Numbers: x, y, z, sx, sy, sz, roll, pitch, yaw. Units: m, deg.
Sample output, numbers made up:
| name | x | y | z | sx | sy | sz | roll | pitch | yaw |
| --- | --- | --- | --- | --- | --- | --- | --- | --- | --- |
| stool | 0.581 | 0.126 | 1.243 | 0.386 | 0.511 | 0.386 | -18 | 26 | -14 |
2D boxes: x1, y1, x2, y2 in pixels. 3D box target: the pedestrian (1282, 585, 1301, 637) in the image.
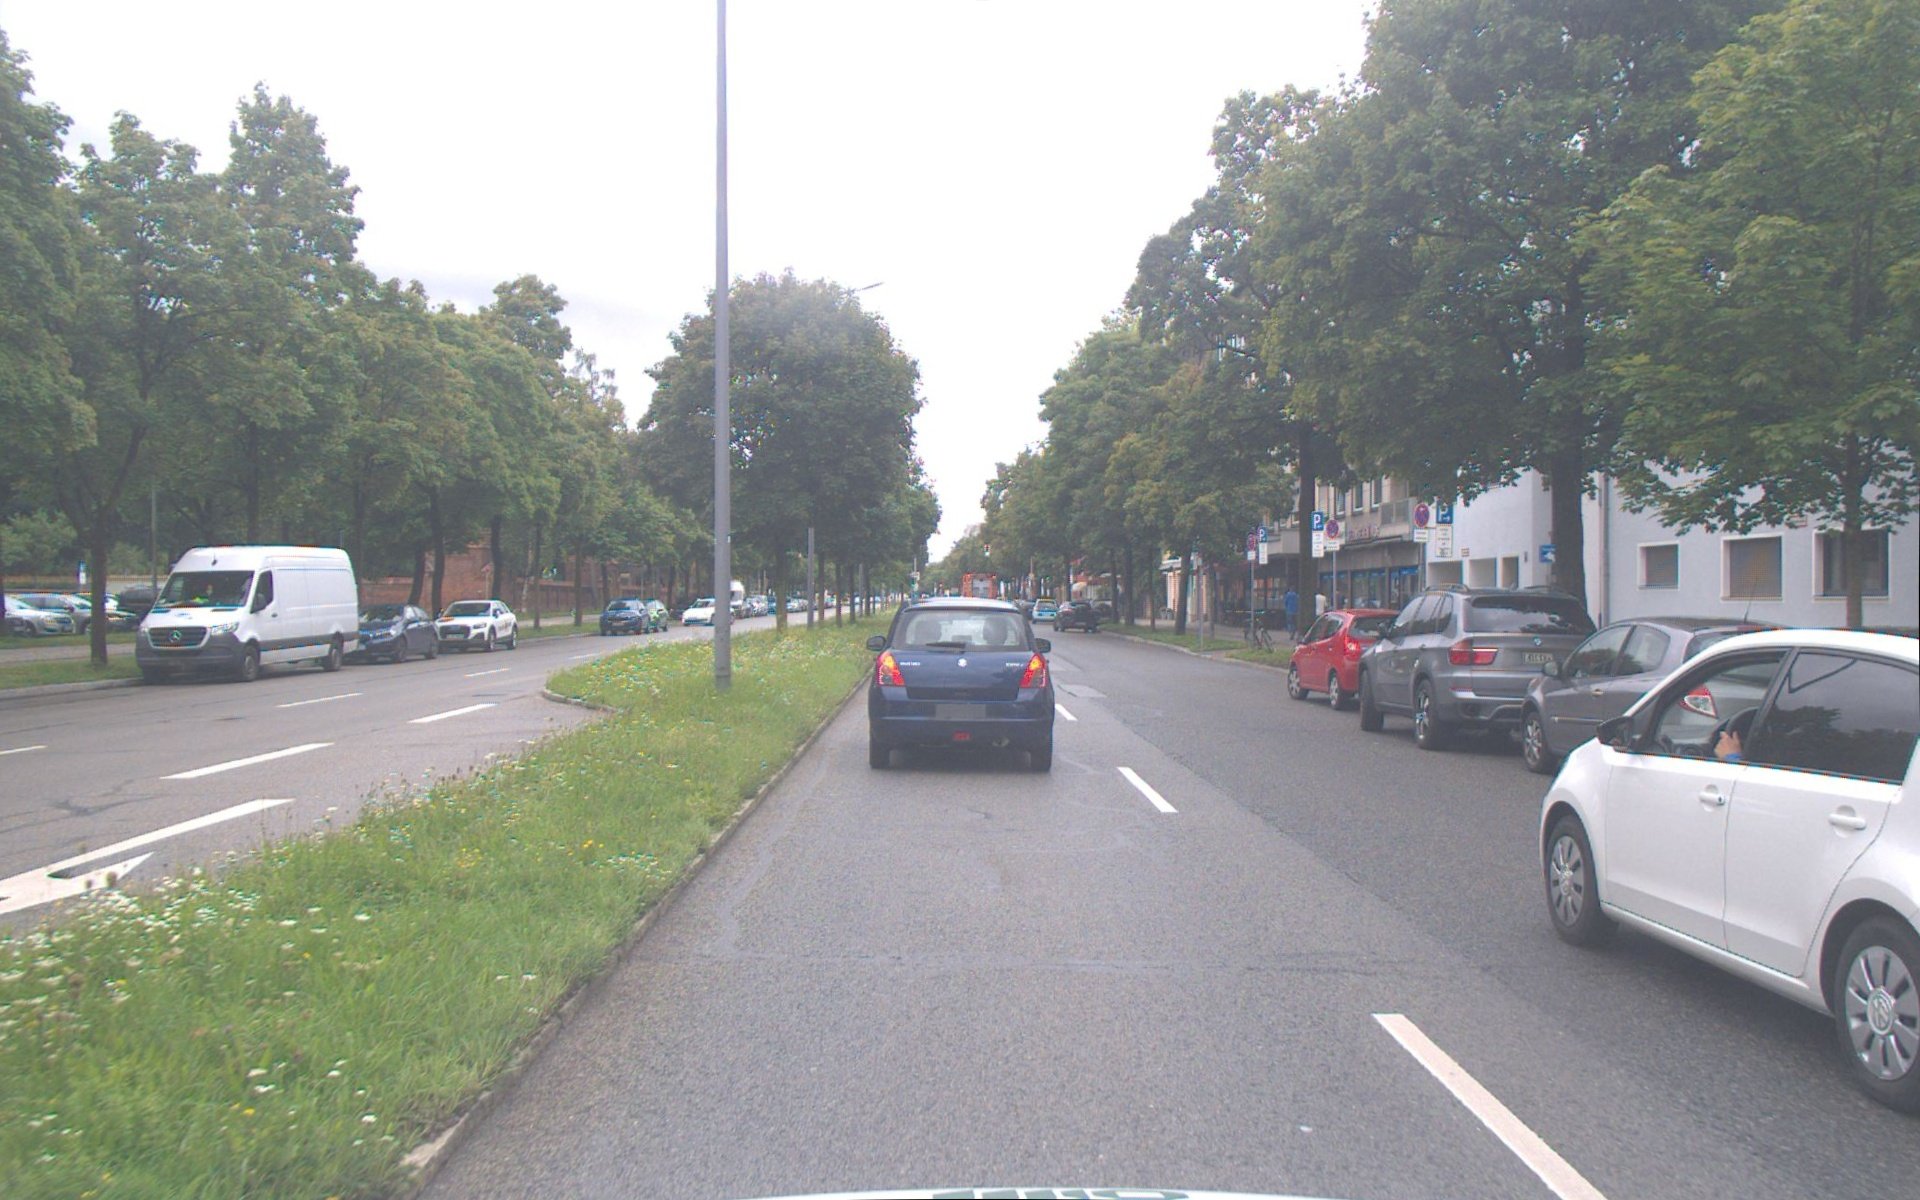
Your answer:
| name | x | y | z | sx | sy | sz | roll | pitch | yaw |
| --- | --- | --- | --- | --- | --- | --- | --- | --- | --- |
| pedestrian | 11.241 | 0.365 | 56.154 | 0.489 | 1.763 | 0.732 | 0 | 0 | -1 |

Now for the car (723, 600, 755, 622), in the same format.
| name | x | y | z | sx | sy | sz | roll | pitch | yaw |
| --- | --- | --- | --- | --- | --- | --- | --- | --- | --- |
| car | -17.758 | 0.872 | 132.941 | 2.142 | 1.766 | 4.575 | 1 | 0 | -3 |

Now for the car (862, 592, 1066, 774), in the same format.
| name | x | y | z | sx | sy | sz | roll | pitch | yaw |
| --- | --- | --- | --- | --- | --- | --- | --- | --- | --- |
| car | 0.035 | 0.695 | 16.018 | 1.717 | 1.531 | 4.000 | 0 | 0 | 0 |

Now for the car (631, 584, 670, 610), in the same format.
| name | x | y | z | sx | sy | sz | roll | pitch | yaw |
| --- | --- | --- | --- | --- | --- | --- | --- | --- | --- |
| car | -19.670 | -0.187 | 105.252 | 1.777 | 1.563 | 4.297 | 1 | 0 | -2 |

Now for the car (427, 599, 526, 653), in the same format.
| name | x | y | z | sx | sy | sz | roll | pitch | yaw |
| --- | --- | --- | --- | --- | --- | --- | --- | --- | --- |
| car | -14.357 | 0.779 | 49.342 | 1.820 | 1.517 | 4.140 | 0 | -1 | -2 |

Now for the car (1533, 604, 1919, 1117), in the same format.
| name | x | y | z | sx | sy | sz | roll | pitch | yaw |
| --- | --- | --- | --- | --- | --- | --- | --- | --- | --- |
| car | 3.647 | 0.788 | 6.260 | 1.653 | 1.516 | 3.433 | 0 | 0 | -3 |

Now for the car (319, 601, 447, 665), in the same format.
| name | x | y | z | sx | sy | sz | roll | pitch | yaw |
| --- | --- | --- | --- | --- | --- | --- | --- | --- | --- |
| car | -14.371 | 0.818 | 41.456 | 1.820 | 1.517 | 4.250 | 0 | -1 | -2 |

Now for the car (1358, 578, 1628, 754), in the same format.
| name | x | y | z | sx | sy | sz | roll | pitch | yaw |
| --- | --- | --- | --- | --- | --- | --- | --- | --- | --- |
| car | 5.961 | 0.668 | 19.079 | 1.791 | 1.776 | 4.509 | 0 | 0 | 2 |

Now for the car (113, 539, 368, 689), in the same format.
| name | x | y | z | sx | sy | sz | roll | pitch | yaw |
| --- | --- | --- | --- | --- | --- | --- | --- | --- | --- |
| car | -14.372 | 0.224 | 33.669 | 2.096 | 2.690 | 7.104 | -1 | 0 | 0 |

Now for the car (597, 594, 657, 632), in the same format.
| name | x | y | z | sx | sy | sz | roll | pitch | yaw |
| --- | --- | --- | --- | --- | --- | --- | --- | --- | --- |
| car | -14.526 | 0.542 | 72.333 | 1.849 | 1.564 | 4.312 | -2 | 0 | -3 |

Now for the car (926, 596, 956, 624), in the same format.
| name | x | y | z | sx | sy | sz | roll | pitch | yaw |
| --- | --- | --- | --- | --- | --- | --- | --- | --- | --- |
| car | -1.126 | 0.568 | 95.443 | 1.683 | 1.527 | 4.300 | 1 | 0 | -1 |

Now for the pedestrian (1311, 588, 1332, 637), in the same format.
| name | x | y | z | sx | sy | sz | roll | pitch | yaw |
| --- | --- | --- | --- | --- | --- | --- | --- | --- | --- |
| pedestrian | 12.292 | 0.412 | 56.246 | 0.537 | 1.658 | 0.641 | -1 | 0 | -1 |

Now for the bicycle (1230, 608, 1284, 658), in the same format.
| name | x | y | z | sx | sy | sz | roll | pitch | yaw |
| --- | --- | --- | --- | --- | --- | --- | --- | --- | --- |
| bicycle | 7.847 | 0.847 | 43.814 | 0.447 | 1.278 | 2.138 | 0 | 0 | -19 |

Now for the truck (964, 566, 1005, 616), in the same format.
| name | x | y | z | sx | sy | sz | roll | pitch | yaw |
| --- | --- | --- | --- | --- | --- | --- | --- | --- | --- |
| truck | 1.852 | -0.686 | 129.756 | 2.979 | 3.619 | 13.674 | 1 | 0 | 0 |

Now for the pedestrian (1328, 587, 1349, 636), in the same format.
| name | x | y | z | sx | sy | sz | roll | pitch | yaw |
| --- | --- | --- | --- | --- | --- | --- | --- | --- | --- |
| pedestrian | 12.925 | 0.387 | 56.524 | 0.530 | 1.669 | 0.724 | 0 | 0 | -1 |

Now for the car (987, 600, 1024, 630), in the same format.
| name | x | y | z | sx | sy | sz | roll | pitch | yaw |
| --- | --- | --- | --- | --- | --- | --- | --- | --- | --- |
| car | 2.481 | 0.816 | 90.793 | 1.784 | 1.503 | 4.689 | 2 | 0 | -1 |

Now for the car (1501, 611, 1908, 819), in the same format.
| name | x | y | z | sx | sy | sz | roll | pitch | yaw |
| --- | --- | --- | --- | --- | --- | --- | --- | --- | --- |
| car | 6.325 | 0.899 | 14.560 | 1.792 | 1.549 | 3.769 | 0 | 0 | -2 |

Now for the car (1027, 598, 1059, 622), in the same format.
| name | x | y | z | sx | sy | sz | roll | pitch | yaw |
| --- | --- | --- | --- | --- | --- | --- | --- | --- | --- |
| car | 5.186 | 0.611 | 103.711 | 1.620 | 1.477 | 3.998 | 0 | 0 | -3 |

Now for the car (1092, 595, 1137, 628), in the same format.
| name | x | y | z | sx | sy | sz | roll | pitch | yaw |
| --- | --- | --- | --- | --- | --- | --- | --- | --- | --- |
| car | 8.080 | 0.583 | 86.812 | 1.953 | 1.671 | 4.332 | 0 | 0 | -1 |

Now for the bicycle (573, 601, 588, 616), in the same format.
| name | x | y | z | sx | sy | sz | roll | pitch | yaw |
| --- | --- | --- | --- | --- | --- | --- | --- | --- | --- |
| bicycle | -24.092 | 0.530 | 104.971 | 0.642 | 0.953 | 1.618 | 0 | 0 | -3 |

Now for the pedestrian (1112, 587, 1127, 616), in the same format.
| name | x | y | z | sx | sy | sz | roll | pitch | yaw |
| --- | --- | --- | --- | --- | --- | --- | --- | --- | --- |
| pedestrian | 10.577 | 0.093 | 109.691 | 0.776 | 1.888 | 0.776 | -2 | 0 | -4 |

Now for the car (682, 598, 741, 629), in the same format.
| name | x | y | z | sx | sy | sz | roll | pitch | yaw |
| --- | --- | --- | --- | --- | --- | --- | --- | --- | --- |
| car | -14.136 | 0.754 | 94.384 | 1.723 | 1.564 | 4.318 | -2 | 0 | 15 |

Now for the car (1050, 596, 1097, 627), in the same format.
| name | x | y | z | sx | sy | sz | roll | pitch | yaw |
| --- | --- | --- | --- | --- | --- | --- | --- | --- | --- |
| car | 5.405 | 0.529 | 79.321 | 1.953 | 1.477 | 3.999 | 0 | 0 | -1 |

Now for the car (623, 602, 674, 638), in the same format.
| name | x | y | z | sx | sy | sz | roll | pitch | yaw |
| --- | --- | --- | --- | --- | --- | --- | --- | --- | --- |
| car | -14.678 | 0.933 | 78.188 | 1.605 | 1.564 | 4.314 | -2 | 0 | -1 |

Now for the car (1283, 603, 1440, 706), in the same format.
| name | x | y | z | sx | sy | sz | roll | pitch | yaw |
| --- | --- | --- | --- | --- | --- | --- | --- | --- | --- |
| car | 6.216 | 0.796 | 26.000 | 1.490 | 1.466 | 4.000 | 0 | 0 | 0 |

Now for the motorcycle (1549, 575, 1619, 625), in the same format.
| name | x | y | z | sx | sy | sz | roll | pitch | yaw |
| --- | --- | --- | --- | --- | --- | --- | --- | --- | --- |
| motorcycle | 14.137 | 0.000 | 37.547 | 0.745 | 1.105 | 2.199 | 0 | 0 | 0 |

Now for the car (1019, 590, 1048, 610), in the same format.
| name | x | y | z | sx | sy | sz | roll | pitch | yaw |
| --- | --- | --- | --- | --- | --- | --- | --- | --- | --- |
| car | 5.313 | 0.000 | 120.261 | 1.620 | 1.477 | 4.705 | 0 | 0 | -3 |

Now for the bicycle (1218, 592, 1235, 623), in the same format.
| name | x | y | z | sx | sy | sz | roll | pitch | yaw |
| --- | --- | --- | --- | --- | --- | --- | --- | --- | --- |
| bicycle | 12.912 | 0.378 | 80.111 | 0.568 | 1.489 | 1.688 | 0 | 0 | -1 |

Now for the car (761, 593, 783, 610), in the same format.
| name | x | y | z | sx | sy | sz | roll | pitch | yaw |
| --- | --- | --- | --- | --- | --- | --- | --- | --- | --- |
| car | -17.831 | 0.125 | 157.099 | 1.672 | 1.561 | 3.999 | 0 | 0 | -1 |
